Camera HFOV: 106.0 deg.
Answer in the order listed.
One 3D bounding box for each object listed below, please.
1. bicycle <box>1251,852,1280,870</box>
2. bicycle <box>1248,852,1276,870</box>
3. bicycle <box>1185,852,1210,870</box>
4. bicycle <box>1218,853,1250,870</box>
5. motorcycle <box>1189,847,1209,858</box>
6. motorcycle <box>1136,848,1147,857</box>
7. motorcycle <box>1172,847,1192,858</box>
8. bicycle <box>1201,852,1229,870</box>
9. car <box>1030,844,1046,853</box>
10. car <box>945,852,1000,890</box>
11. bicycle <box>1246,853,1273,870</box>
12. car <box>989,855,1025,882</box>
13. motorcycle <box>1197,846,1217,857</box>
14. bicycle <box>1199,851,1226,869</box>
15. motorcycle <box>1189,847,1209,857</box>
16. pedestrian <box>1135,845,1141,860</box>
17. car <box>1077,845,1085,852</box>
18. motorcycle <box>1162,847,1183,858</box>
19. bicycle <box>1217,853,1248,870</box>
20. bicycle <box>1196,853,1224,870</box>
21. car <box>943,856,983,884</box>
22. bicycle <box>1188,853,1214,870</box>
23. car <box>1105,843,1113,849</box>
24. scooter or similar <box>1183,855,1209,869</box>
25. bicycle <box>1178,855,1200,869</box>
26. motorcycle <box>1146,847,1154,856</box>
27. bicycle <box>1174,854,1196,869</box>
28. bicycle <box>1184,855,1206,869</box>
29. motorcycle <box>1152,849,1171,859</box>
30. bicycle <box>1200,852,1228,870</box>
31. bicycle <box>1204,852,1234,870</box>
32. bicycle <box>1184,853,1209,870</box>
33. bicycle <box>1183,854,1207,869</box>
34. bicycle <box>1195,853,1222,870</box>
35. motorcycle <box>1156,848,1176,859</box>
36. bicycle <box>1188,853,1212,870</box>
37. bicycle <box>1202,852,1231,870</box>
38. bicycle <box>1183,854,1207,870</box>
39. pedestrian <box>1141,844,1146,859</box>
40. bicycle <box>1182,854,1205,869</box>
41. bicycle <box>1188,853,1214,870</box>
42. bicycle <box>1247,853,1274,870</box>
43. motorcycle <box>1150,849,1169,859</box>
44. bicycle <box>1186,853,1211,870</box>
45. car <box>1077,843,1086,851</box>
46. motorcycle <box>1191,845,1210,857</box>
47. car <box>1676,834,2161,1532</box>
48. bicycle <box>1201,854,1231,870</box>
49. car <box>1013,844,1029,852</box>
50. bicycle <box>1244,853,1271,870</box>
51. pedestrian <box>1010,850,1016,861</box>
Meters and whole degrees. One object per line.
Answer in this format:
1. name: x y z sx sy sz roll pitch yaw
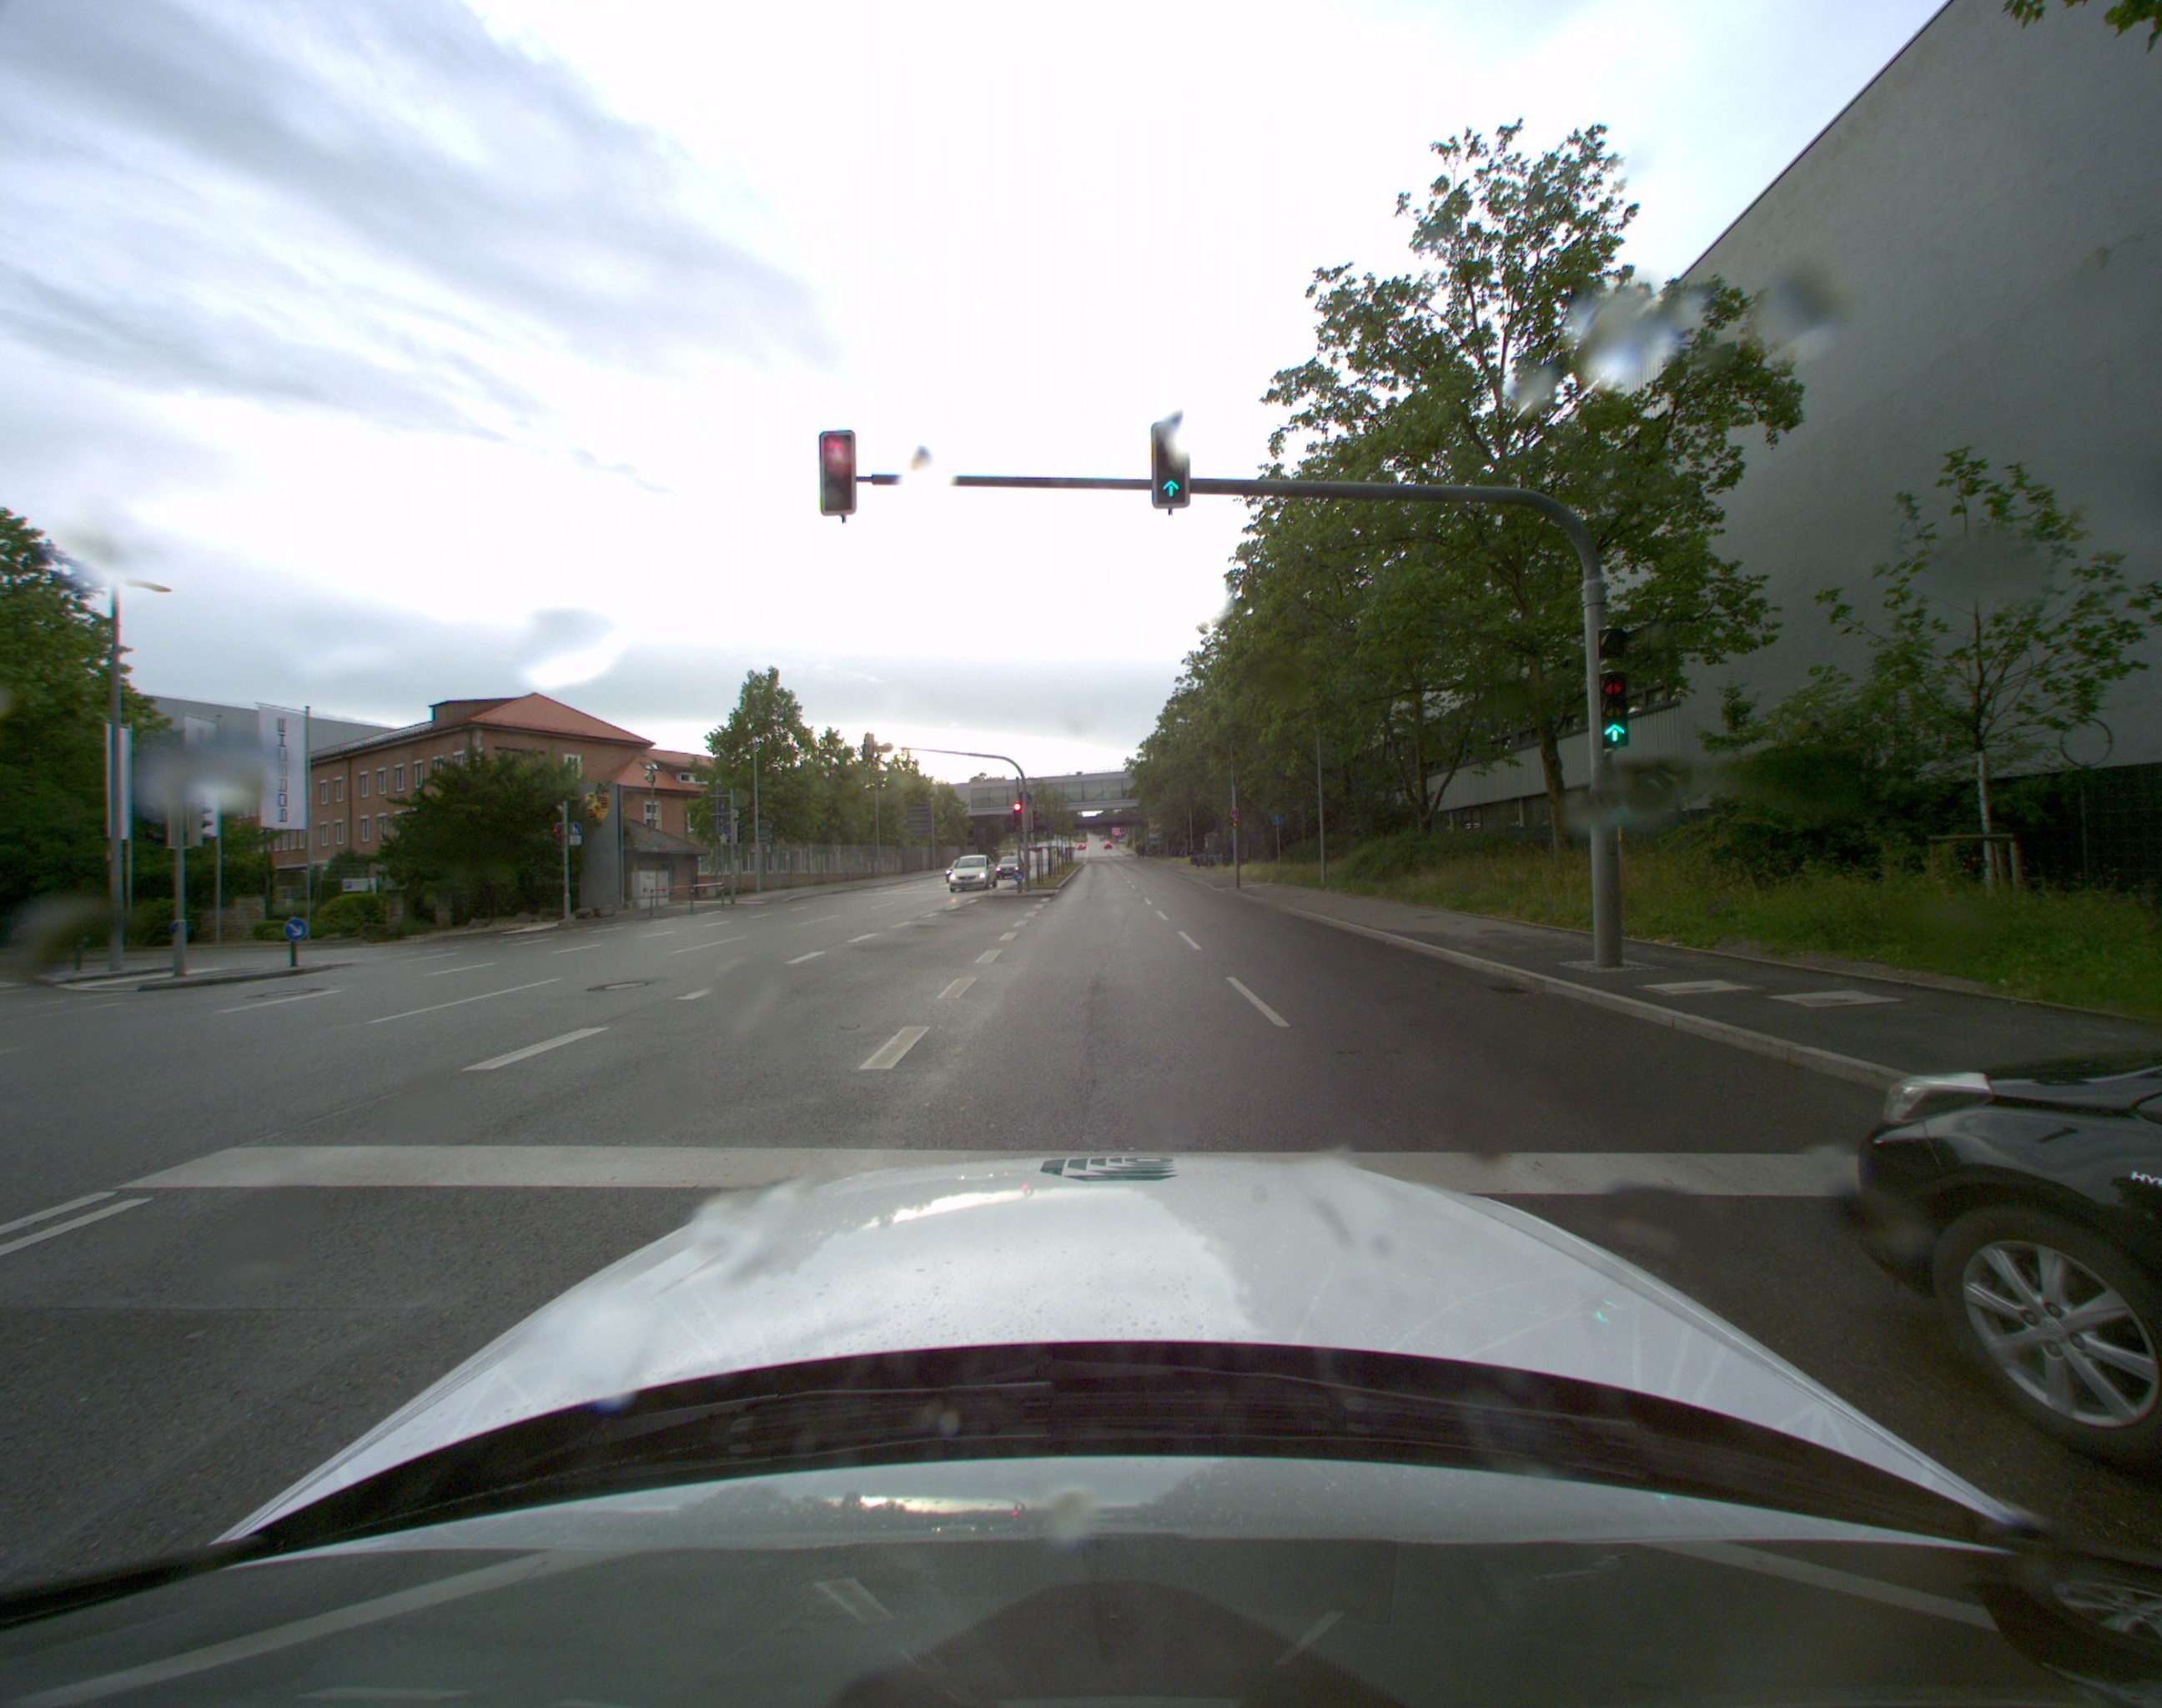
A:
1. bicycle: 13.491 0.519 59.662 1.982 1.328 0.576 0 -1 2
2. bicycle: 13.730 0.557 61.749 1.982 1.328 0.576 0 -1 2
3. bicycle: 9.628 0.562 67.470 1.982 1.430 0.723 0 -1 2
4. bicycle: 10.090 0.499 53.748 1.982 1.095 0.541 0 -1 2
5. motorcycle: 14.501 -0.215 100.120 2.354 1.202 0.724 -3 0 9
6. motorcycle: 9.295 -0.230 125.345 0.792 1.311 2.363 -3 0 -16
7. motorcycle: 11.988 -0.175 96.688 2.354 1.202 0.724 -3 0 9
8. bicycle: 9.648 0.505 58.603 1.982 1.242 0.541 0 -1 2
9. car: -10.933 -1.412 208.305 2.011 2.014 3.952 1 -1 -42
10. car: -5.012 0.740 38.185 1.870 1.624 3.780 -2 0 2
11. bicycle: 13.788 0.580 63.062 1.982 1.328 0.576 0 -1 2
12. car: -4.834 0.925 53.717 1.870 1.624 3.780 -2 0 2
13. motorcycle: 15.245 -0.277 98.746 2.354 1.202 0.724 -3 0 9
14. bicycle: 9.695 0.464 60.058 1.982 1.340 0.541 0 -1 2
15. motorcycle: 14.647 -0.236 100.912 2.354 1.202 0.724 -3 0 9
16. pedestrian: 7.993 -0.175 114.204 0.619 2.013 0.606 -3 0 2
17. car: 0.070 -1.475 211.454 1.877 1.762 3.970 0 -1 2
18. motorcycle: 10.662 -0.168 94.810 2.354 1.202 0.724 -3 0 9
19. bicycle: 10.109 0.508 54.316 1.982 1.095 0.541 0 -1 2
20. bicycle: 9.623 0.541 60.751 1.982 1.242 0.541 0 -1 2
21. car: -7.597 0.996 52.644 1.870 1.624 3.780 -2 0 2
22. bicycle: 9.298 0.579 63.083 1.982 1.242 0.541 0 -1 2
23. car: 7.026 -1.946 203.028 1.868 1.497 4.070 0 -1 2
24. scooter or similar: 9.028 0.628 63.881 1.982 1.138 0.541 0 -1 2
25. bicycle: 9.811 0.731 74.281 1.955 1.328 0.654 0 -1 2
26. motorcycle: 10.344 -0.318 122.105 0.789 1.311 2.371 -3 0 -7
27. bicycle: 9.403 0.714 73.486 1.955 1.328 0.654 0 -1 2
28. bicycle: 10.628 0.762 75.764 1.955 1.328 0.654 0 -1 2
29. motorcycle: 10.423 0.029 105.926 2.354 1.202 0.724 -3 0 9
30. bicycle: 9.676 0.515 59.193 1.982 1.242 0.541 0 -1 2
31. bicycle: 9.476 0.468 55.793 1.982 1.216 0.541 0 -1 2
32. bicycle: 9.303 0.594 65.799 1.982 1.328 0.576 0 -1 2
33. bicycle: 9.833 0.662 70.268 1.953 1.328 0.576 0 -1 2
34. bicycle: 9.650 0.558 61.699 1.982 1.242 0.541 0 -1 2
35. motorcycle: 10.616 -0.053 101.462 2.354 1.202 0.724 -3 0 9
36. bicycle: 9.956 0.630 68.316 1.982 1.328 0.576 0 -1 2
37. bicycle: 9.615 0.506 58.007 1.982 1.233 0.541 0 -1 2
38. bicycle: 9.653 0.652 69.034 1.982 1.328 0.576 0 -1 2
39. pedestrian: 8.725 -0.379 114.110 0.619 2.013 0.606 -3 0 2
40. bicycle: 9.770 0.674 70.960 1.955 1.328 0.654 0 -1 2
41. bicycle: 9.599 0.582 64.982 1.982 1.328 0.576 0 -1 2
42. bicycle: 13.752 0.568 62.414 1.982 1.328 0.576 0 -1 2
43. motorcycle: 10.398 0.028 107.979 2.354 1.202 0.795 -3 0 9
44. bicycle: 9.593 0.612 66.736 1.982 1.328 0.576 0 -1 2
45. car: 0.092 -1.730 207.006 1.986 1.762 4.002 0 -1 2
46. motorcycle: 15.725 -0.373 106.847 2.354 1.476 0.724 -3 0 9
47. car: 3.319 0.707 1.125 1.871 1.494 4.073 -3 0 -2
48. bicycle: 9.516 0.557 57.399 1.982 1.095 0.541 0 -1 2
49. car: -14.995 -1.521 204.265 2.011 2.014 3.952 1 -1 -42
50. bicycle: 13.820 0.591 63.730 1.982 1.328 0.576 0 -1 2
51. pedestrian: -11.579 0.252 138.393 0.866 2.004 0.857 1 0 10
